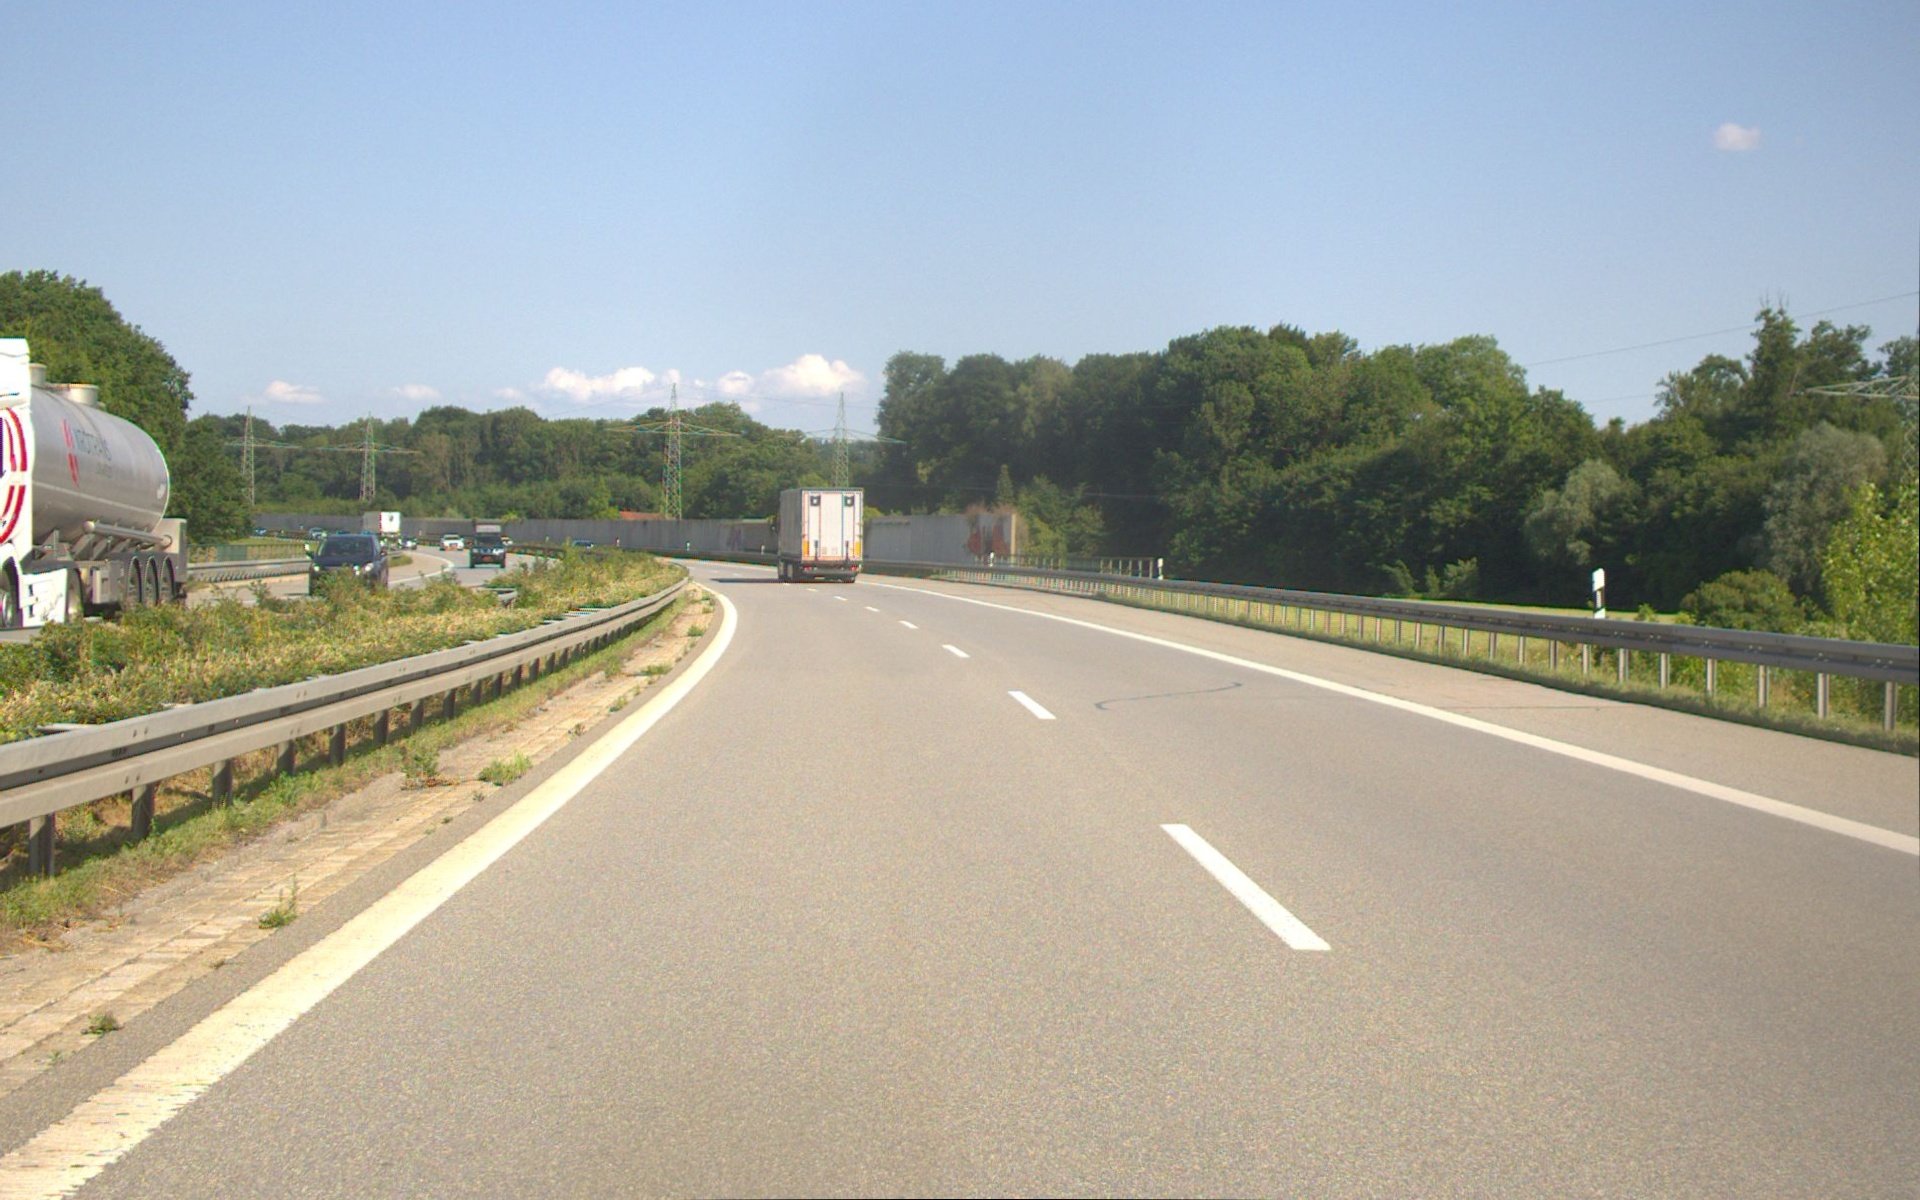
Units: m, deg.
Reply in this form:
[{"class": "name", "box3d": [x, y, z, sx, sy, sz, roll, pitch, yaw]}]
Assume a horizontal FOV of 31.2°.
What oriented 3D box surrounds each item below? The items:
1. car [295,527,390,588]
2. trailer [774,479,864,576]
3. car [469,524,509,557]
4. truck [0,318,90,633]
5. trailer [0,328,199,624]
[{"class": "car", "box3d": [-16.302, -1.154, 90.899, 1.993, 1.549, 4.420, -1, 1, -4]}, {"class": "trailer", "box3d": [-6.210, -3.154, 149.218, 2.883, 4.052, 12.423, 0, 1, -7]}, {"class": "car", "box3d": [-24.604, -3.111, 179.758, 1.993, 1.673, 5.319, -1, 1, -7]}, {"class": "truck", "box3d": [-12.778, -1.507, 42.585, 2.741, 3.714, 5.972, 0, 1, -3]}, {"class": "trailer", "box3d": [-13.059, -1.654, 48.493, 2.741, 3.714, 10.915, 0, 1, -3]}]
